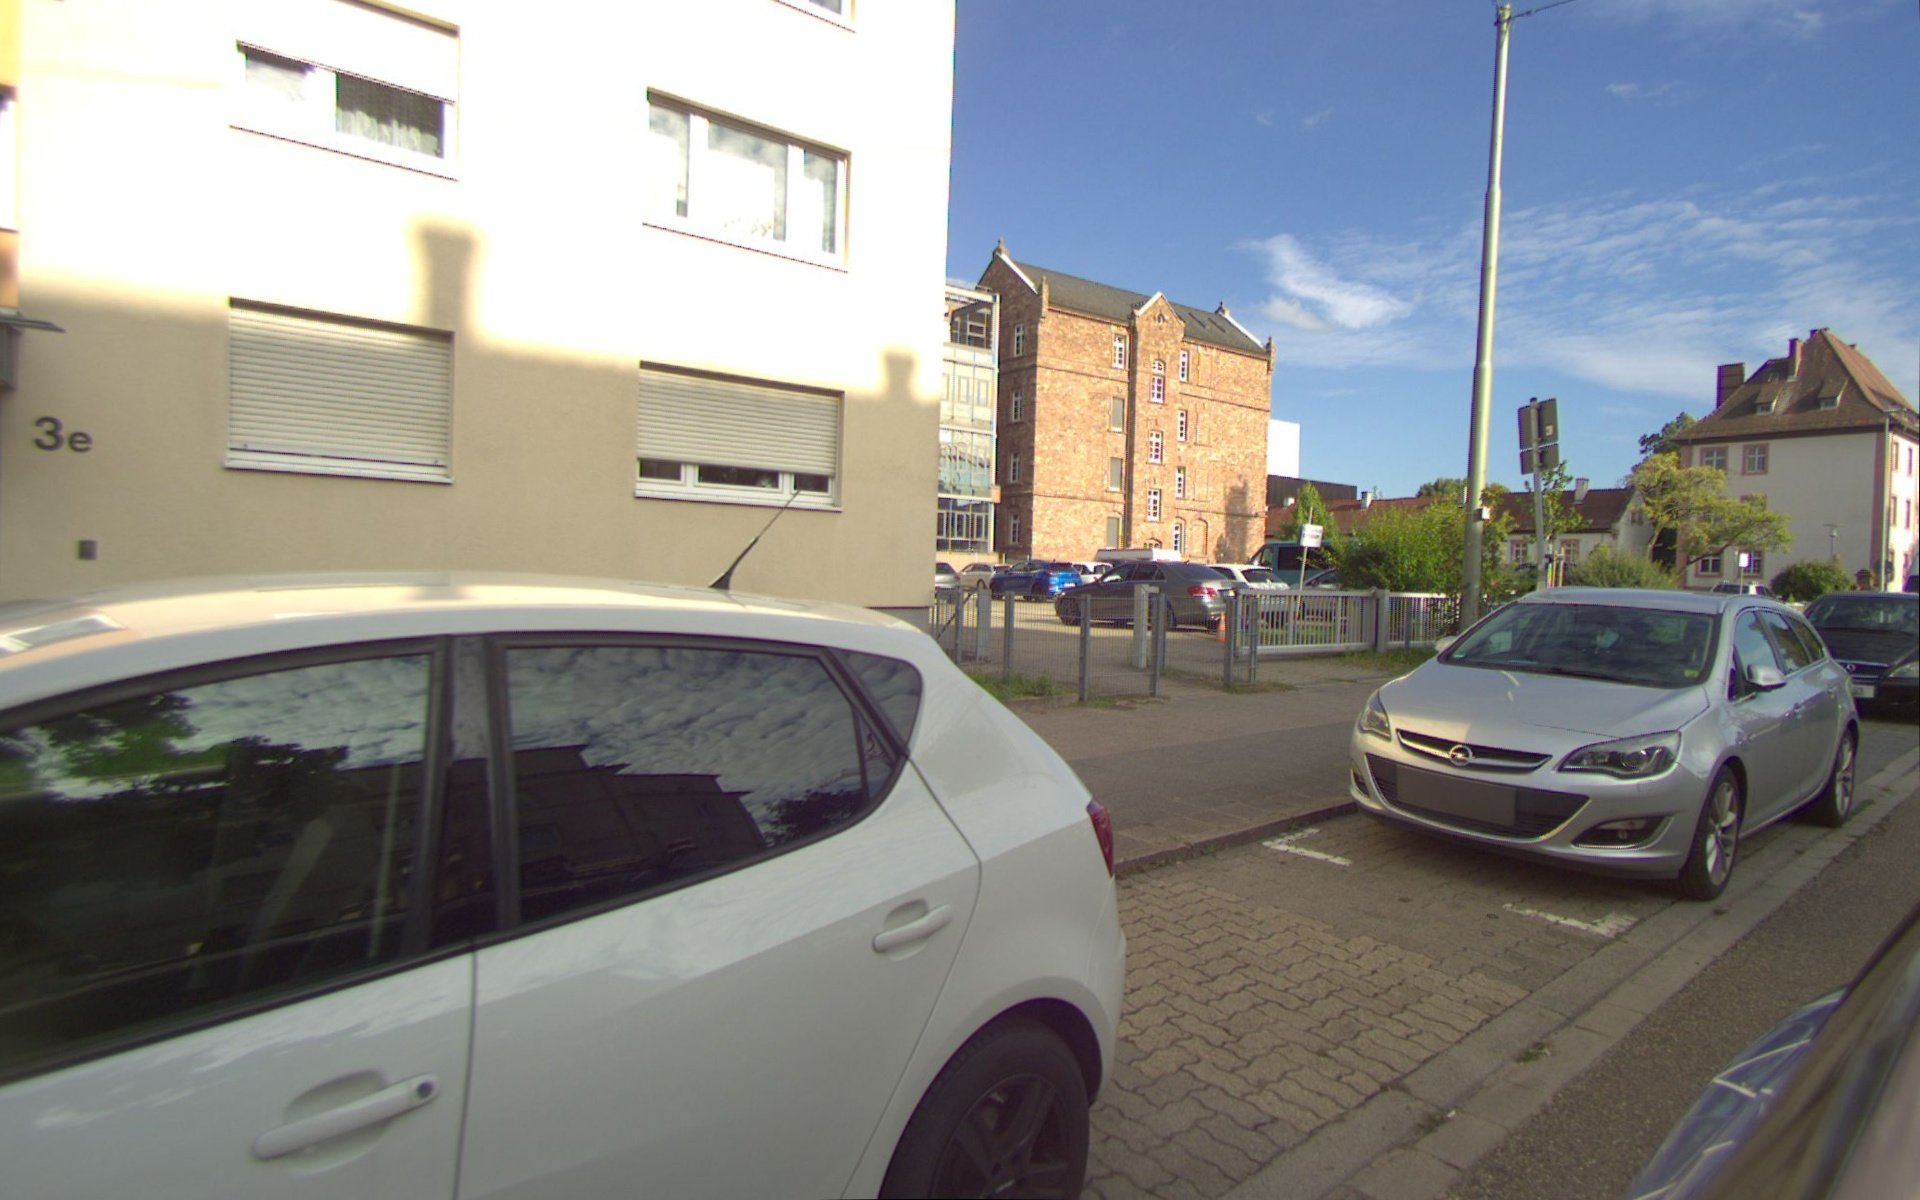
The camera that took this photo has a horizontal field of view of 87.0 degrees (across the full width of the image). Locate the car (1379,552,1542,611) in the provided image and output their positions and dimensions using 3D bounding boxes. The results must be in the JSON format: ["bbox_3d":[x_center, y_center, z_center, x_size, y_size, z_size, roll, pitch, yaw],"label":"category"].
[{"bbox_3d":[14.254,-0.537,29.005,1.833,1.584,3.803,0,1,-30],"label":"car"}]

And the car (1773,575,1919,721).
[{"bbox_3d":[12.412,0.558,13.486,3.900,1.621,1.677,0,4,-41],"label":"car"}]

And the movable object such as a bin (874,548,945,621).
[{"bbox_3d":[-1.026,-0.324,20.516,1.090,1.435,0.879,0,2,-38],"label":"movable object such as a bin"}]

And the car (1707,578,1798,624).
[{"bbox_3d":[31.893,0.033,40.691,4.015,1.740,1.890,1,1,-37],"label":"car"}]

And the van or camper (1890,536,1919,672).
[{"bbox_3d":[20.774,0.139,20.421,5.810,2.557,2.165,0,4,-41],"label":"van or camper"}]

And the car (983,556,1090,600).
[{"bbox_3d":[2.721,-0.822,37.072,1.834,1.500,4.094,0,1,-32],"label":"car"}]

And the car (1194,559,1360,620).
[{"bbox_3d":[8.426,-0.315,27.277,1.833,1.500,4.095,0,1,-30],"label":"car"}]

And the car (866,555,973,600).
[{"bbox_3d":[-1.431,-0.762,34.104,1.834,1.436,4.094,0,1,-32],"label":"car"}]

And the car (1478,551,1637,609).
[{"bbox_3d":[18.457,-0.631,31.407,1.834,1.679,3.802,0,1,-32],"label":"car"}]

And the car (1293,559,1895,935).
[{"bbox_3d":[4.080,0.593,6.228,4.250,1.542,1.768,0,2,-38],"label":"car"}]

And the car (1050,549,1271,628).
[{"bbox_3d":[4.126,-0.276,21.584,1.835,1.500,4.683,0,1,-34],"label":"car"}]

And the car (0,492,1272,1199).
[{"bbox_3d":[-1.356,0.608,1.595,4.136,1.486,1.686,0,2,-43],"label":"car"}]

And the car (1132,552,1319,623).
[{"bbox_3d":[6.078,-0.311,23.623,1.833,1.500,4.095,0,1,-30],"label":"car"}]

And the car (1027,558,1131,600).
[{"bbox_3d":[4.540,-0.832,39.126,1.834,1.522,4.094,0,1,-32],"label":"car"}]

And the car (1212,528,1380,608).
[{"bbox_3d":[10.043,-0.950,30.559,2.320,2.219,4.285,0,1,-32],"label":"car"}]
